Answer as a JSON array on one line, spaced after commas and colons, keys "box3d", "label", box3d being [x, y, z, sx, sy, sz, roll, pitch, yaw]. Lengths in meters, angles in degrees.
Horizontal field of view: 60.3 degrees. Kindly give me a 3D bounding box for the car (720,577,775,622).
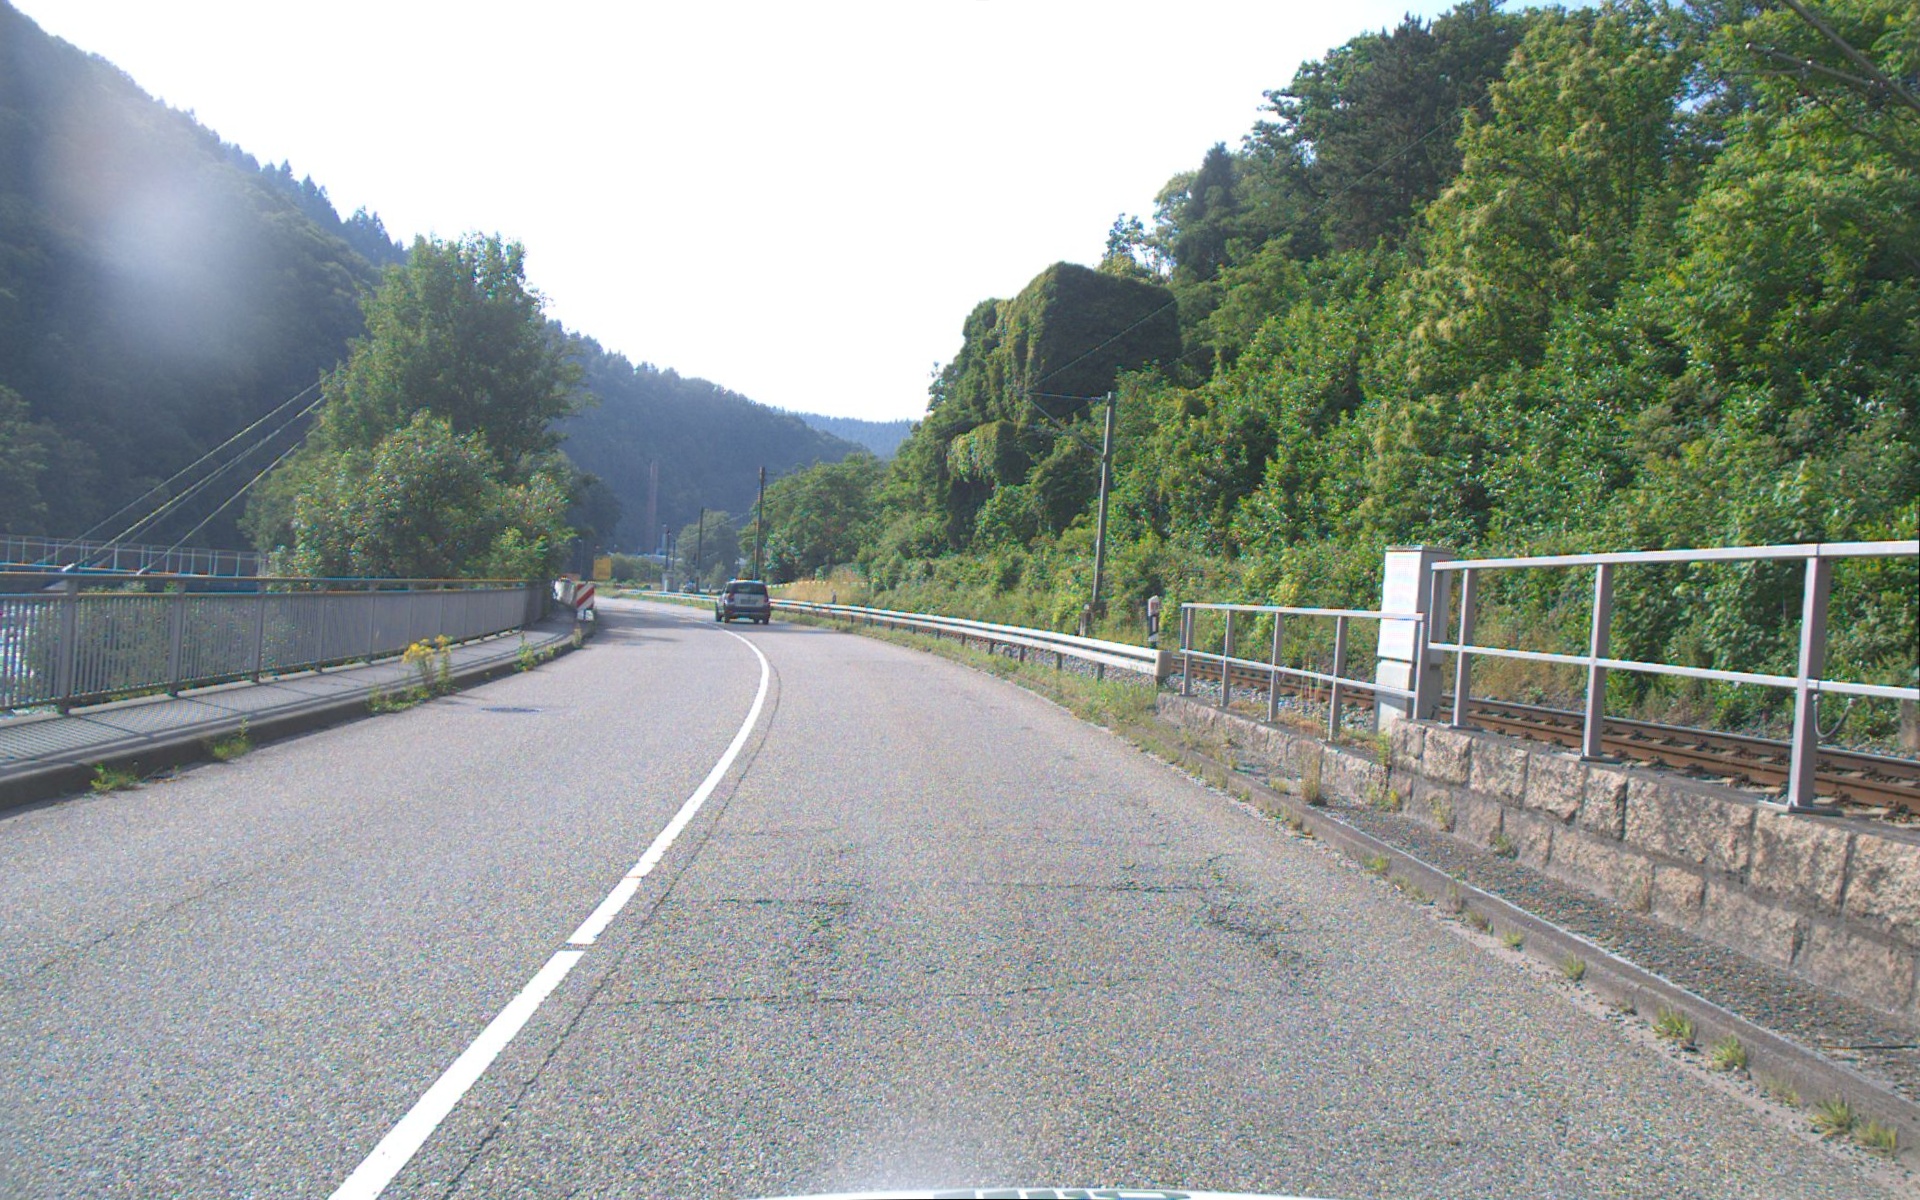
[{"box3d": [-8.333, 0.023, 64.722, 1.839, 1.685, 3.988, 1, -1, -11], "label": "car"}]
